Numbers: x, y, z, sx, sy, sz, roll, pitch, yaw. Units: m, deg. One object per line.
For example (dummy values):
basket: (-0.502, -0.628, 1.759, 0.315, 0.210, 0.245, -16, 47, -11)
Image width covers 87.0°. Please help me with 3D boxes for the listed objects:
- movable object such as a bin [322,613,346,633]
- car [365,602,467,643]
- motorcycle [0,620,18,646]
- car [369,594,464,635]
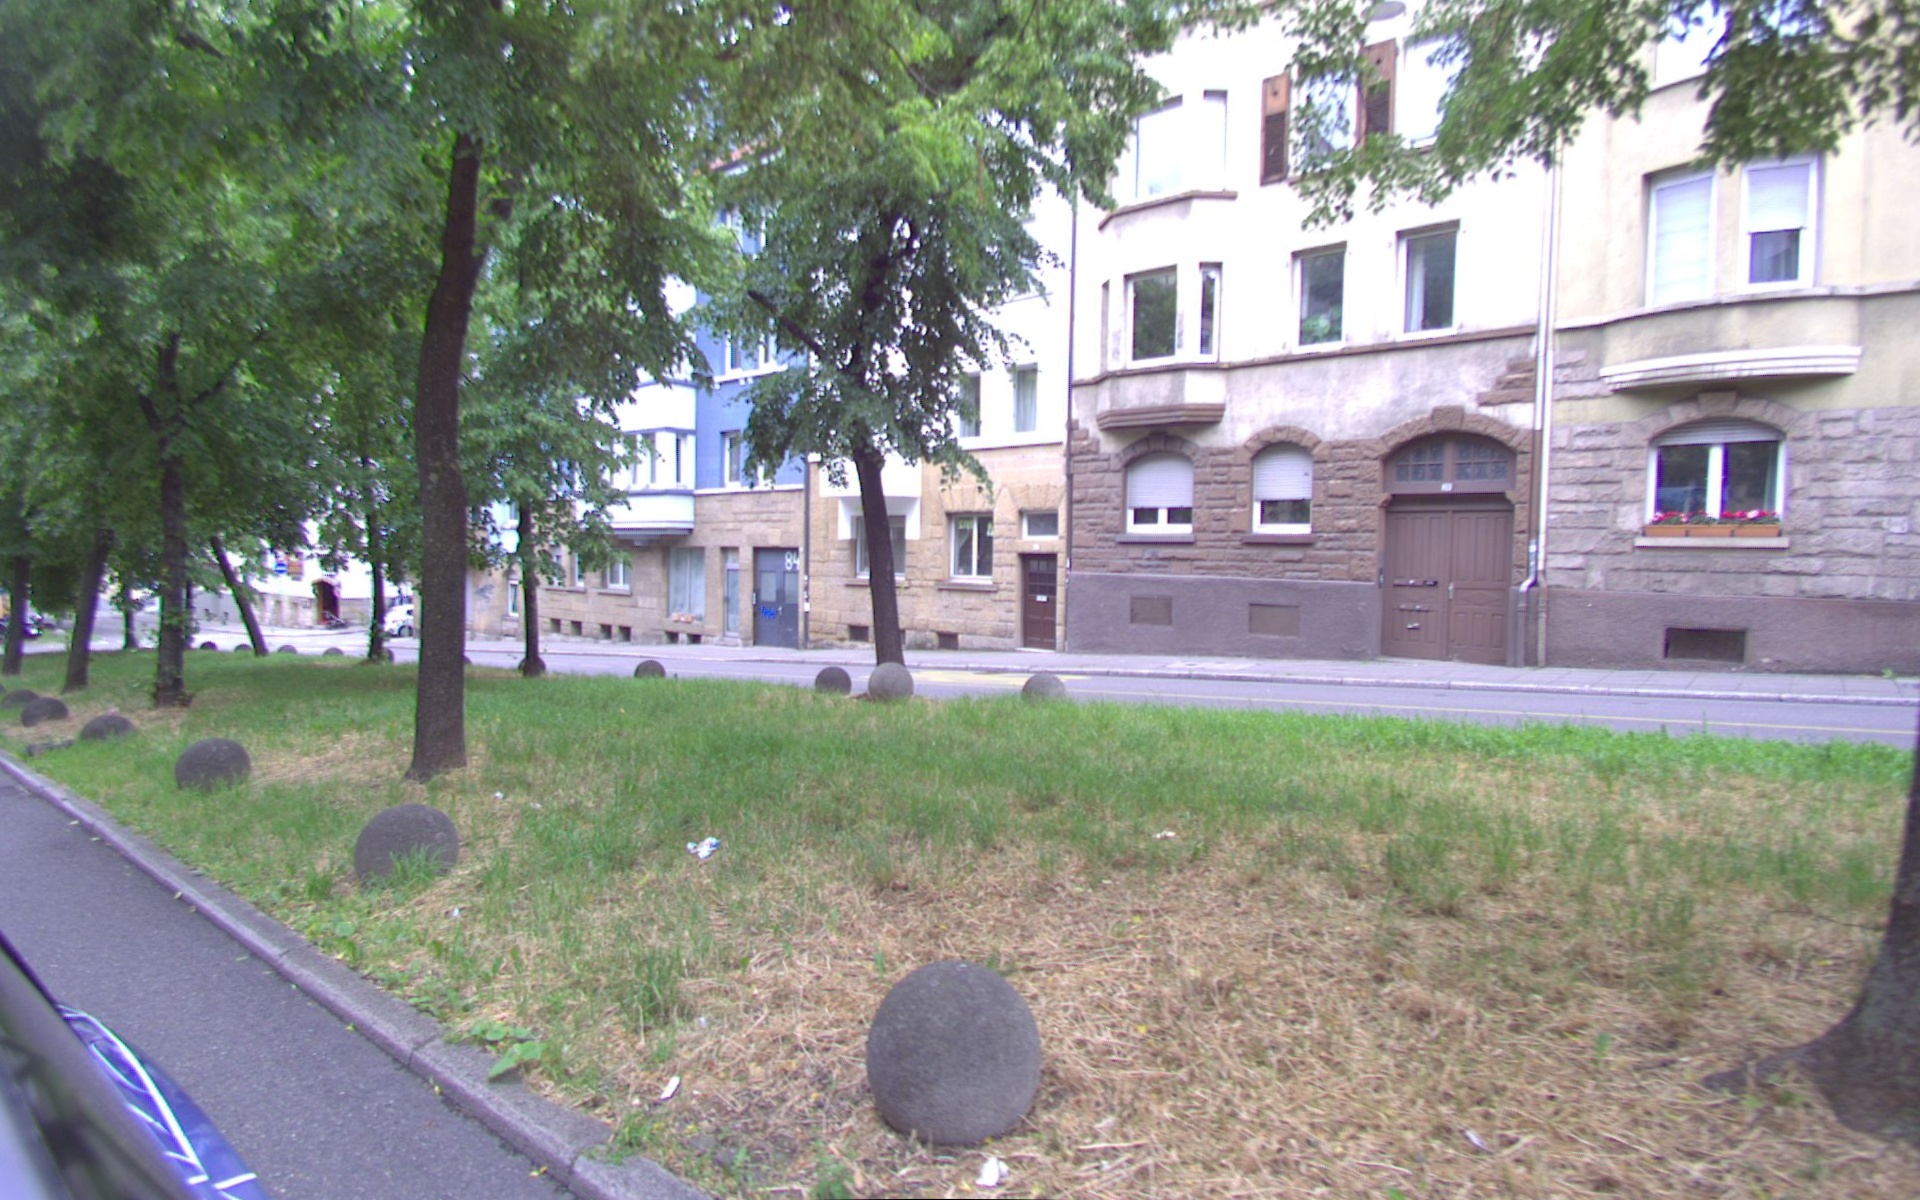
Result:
movable object such as a bin: (-32.953, 1.201, 53.282, 0.667, 1.001, 0.877, 0, 3, 39)
car: (-26.610, 1.044, 49.611, 1.869, 1.480, 3.961, 2, 7, 38)
motorcycle: (-42.775, 1.483, 44.656, 0.551, 1.104, 1.712, 3, 4, 44)
car: (-29.031, 0.713, 54.148, 1.871, 1.711, 3.957, 1, 6, 41)
